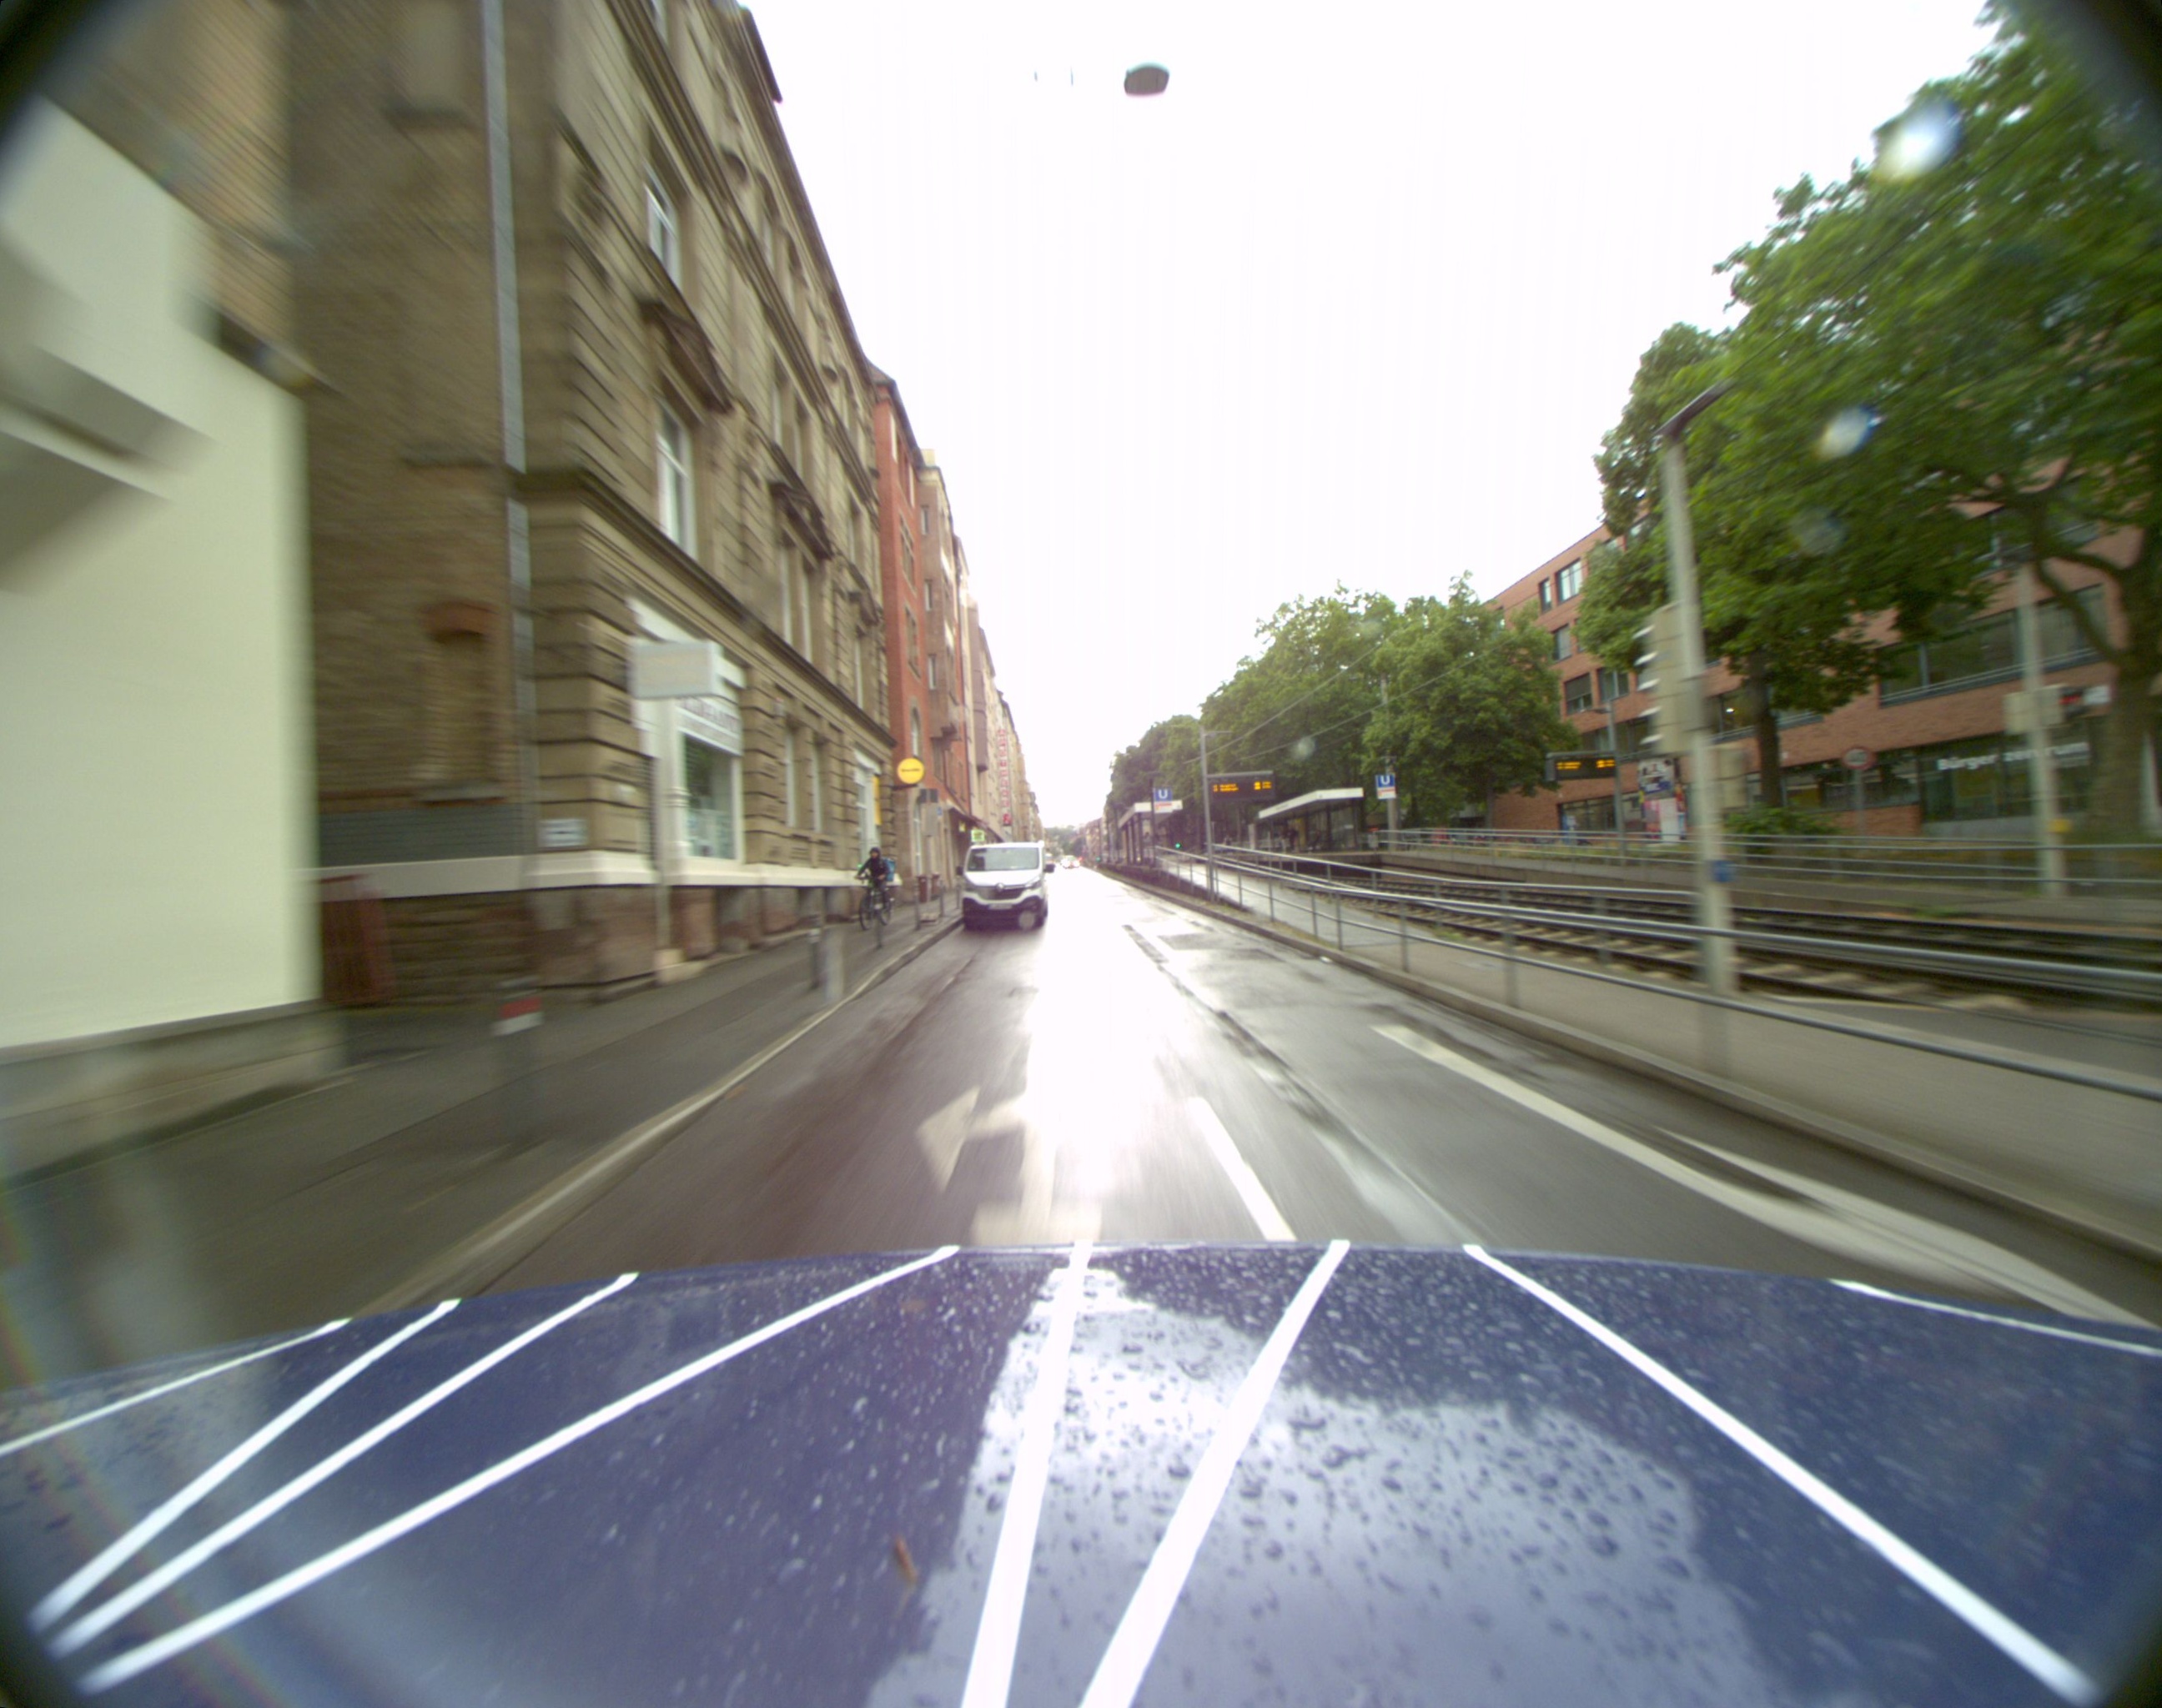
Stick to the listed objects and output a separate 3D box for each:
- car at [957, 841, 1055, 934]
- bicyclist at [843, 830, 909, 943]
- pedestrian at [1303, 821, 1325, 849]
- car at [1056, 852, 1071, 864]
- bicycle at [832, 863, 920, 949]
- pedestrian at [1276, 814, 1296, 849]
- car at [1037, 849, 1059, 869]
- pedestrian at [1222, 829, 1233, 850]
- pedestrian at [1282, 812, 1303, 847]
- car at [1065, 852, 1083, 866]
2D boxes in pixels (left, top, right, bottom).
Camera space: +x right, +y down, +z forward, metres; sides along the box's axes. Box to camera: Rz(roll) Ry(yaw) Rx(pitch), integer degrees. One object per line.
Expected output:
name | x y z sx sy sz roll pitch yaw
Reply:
car | -1.731 0.698 19.484 1.825 1.893 5.990 -4 1 0
bicyclist | -4.280 0.650 15.952 0.921 2.250 1.287 -3 1 0
pedestrian | 12.798 -1.047 41.752 0.781 1.475 0.884 -3 1 -6
car | -2.469 0.529 103.616 1.884 1.439 3.998 -3 1 -3
bicycle | -4.238 1.010 16.032 0.936 1.545 3.134 -4 0 0
pedestrian | 12.564 -1.379 46.622 0.837 2.050 0.884 -3 1 -6
car | -3.302 0.506 76.115 1.884 1.838 3.998 -3 1 -5
pedestrian | 12.124 -1.196 62.793 0.677 1.780 0.703 -2 1 -2
pedestrian | 12.594 -1.469 45.331 0.837 2.050 0.884 -3 1 -6
car | -0.878 0.563 89.326 1.884 1.439 3.998 -3 1 -3
